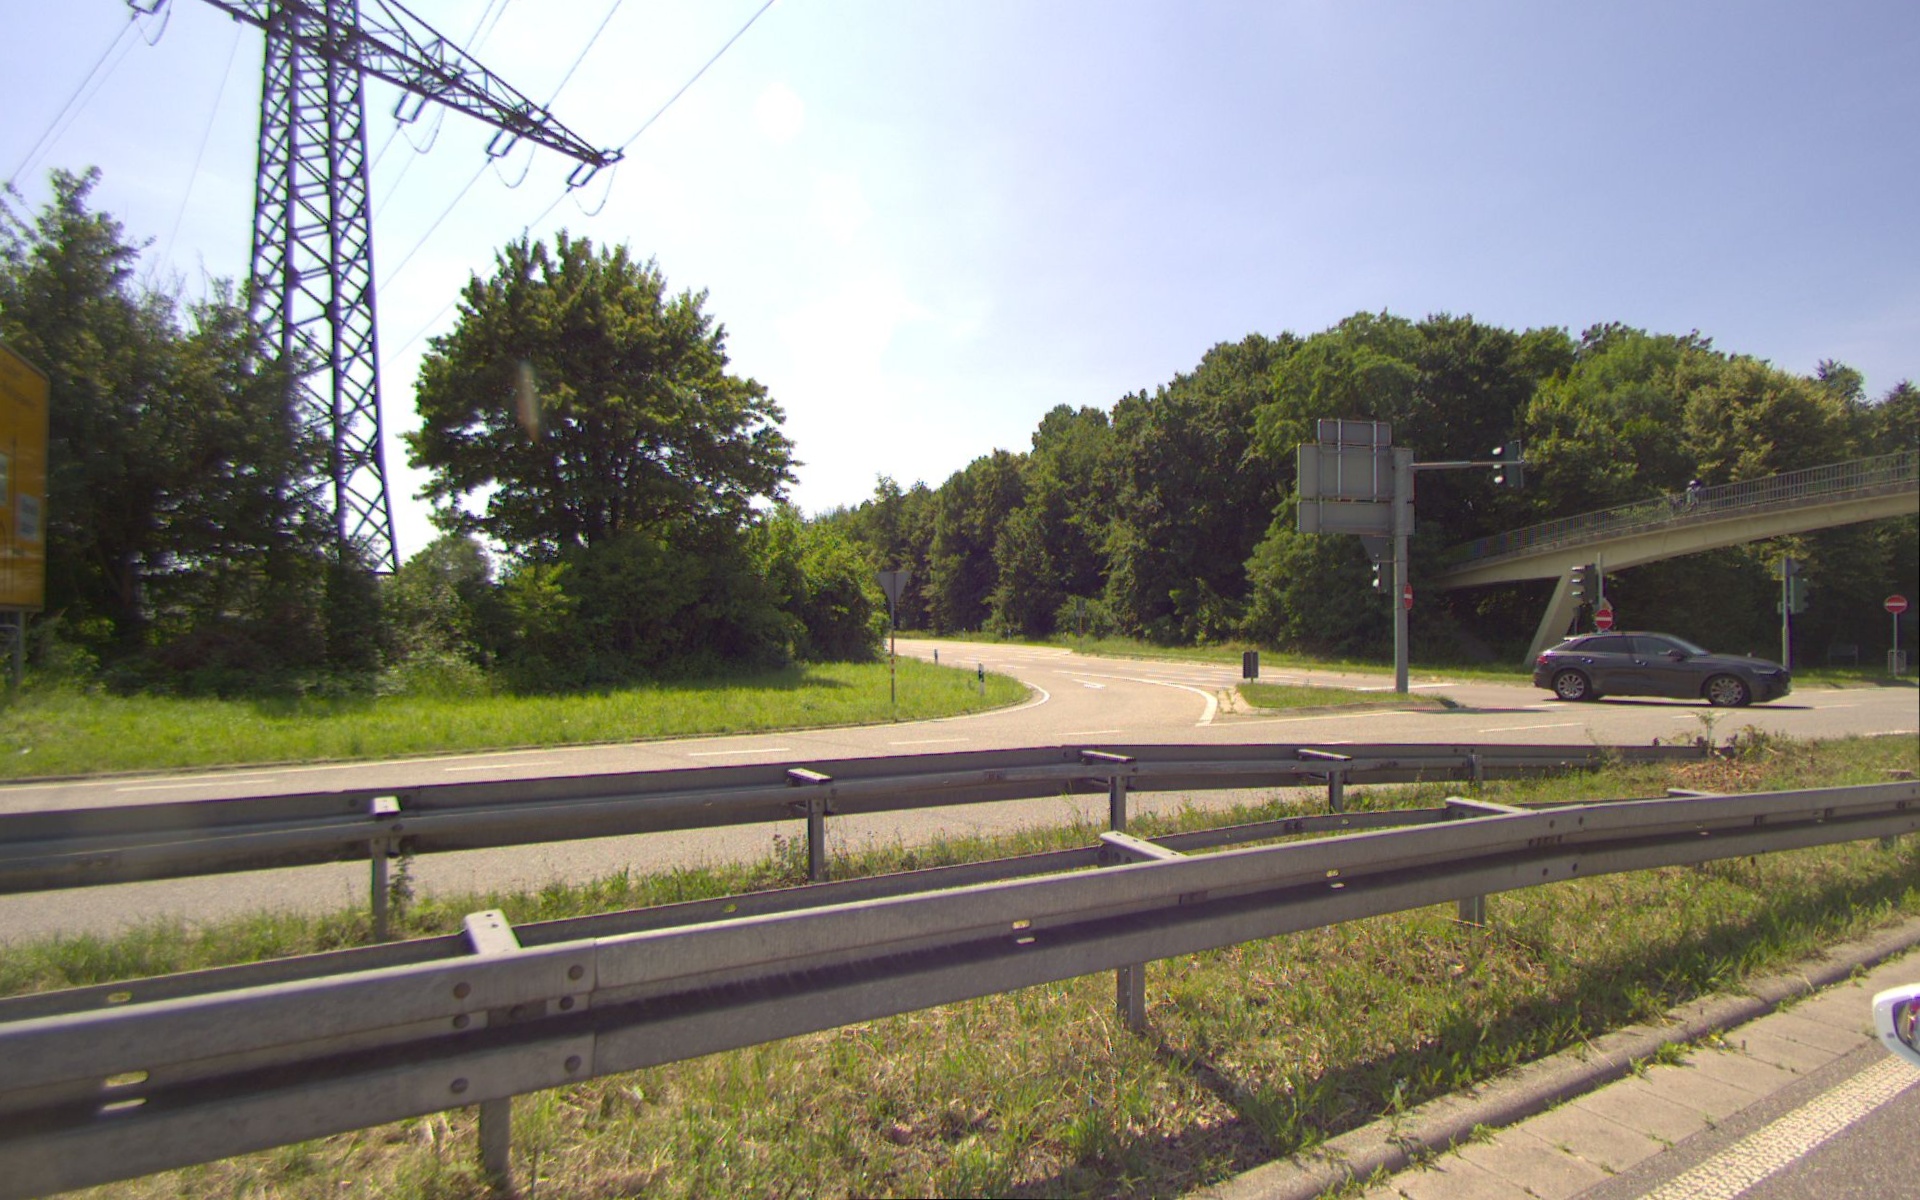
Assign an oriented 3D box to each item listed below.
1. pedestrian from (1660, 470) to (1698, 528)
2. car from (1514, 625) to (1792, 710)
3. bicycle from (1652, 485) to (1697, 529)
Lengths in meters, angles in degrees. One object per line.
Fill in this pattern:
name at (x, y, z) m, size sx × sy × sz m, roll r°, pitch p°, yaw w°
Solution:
pedestrian at (28.820, -4.031, 40.266) m, size 0.916 × 2.167 × 0.783 m, roll 2°, pitch -3°, yaw -14°
car at (16.091, 1.528, 23.550) m, size 2.034 × 1.721 × 5.023 m, roll -1°, pitch -2°, yaw -43°
bicycle at (28.550, -3.702, 40.180) m, size 0.462 × 1.493 × 1.528 m, roll 2°, pitch -3°, yaw -14°
